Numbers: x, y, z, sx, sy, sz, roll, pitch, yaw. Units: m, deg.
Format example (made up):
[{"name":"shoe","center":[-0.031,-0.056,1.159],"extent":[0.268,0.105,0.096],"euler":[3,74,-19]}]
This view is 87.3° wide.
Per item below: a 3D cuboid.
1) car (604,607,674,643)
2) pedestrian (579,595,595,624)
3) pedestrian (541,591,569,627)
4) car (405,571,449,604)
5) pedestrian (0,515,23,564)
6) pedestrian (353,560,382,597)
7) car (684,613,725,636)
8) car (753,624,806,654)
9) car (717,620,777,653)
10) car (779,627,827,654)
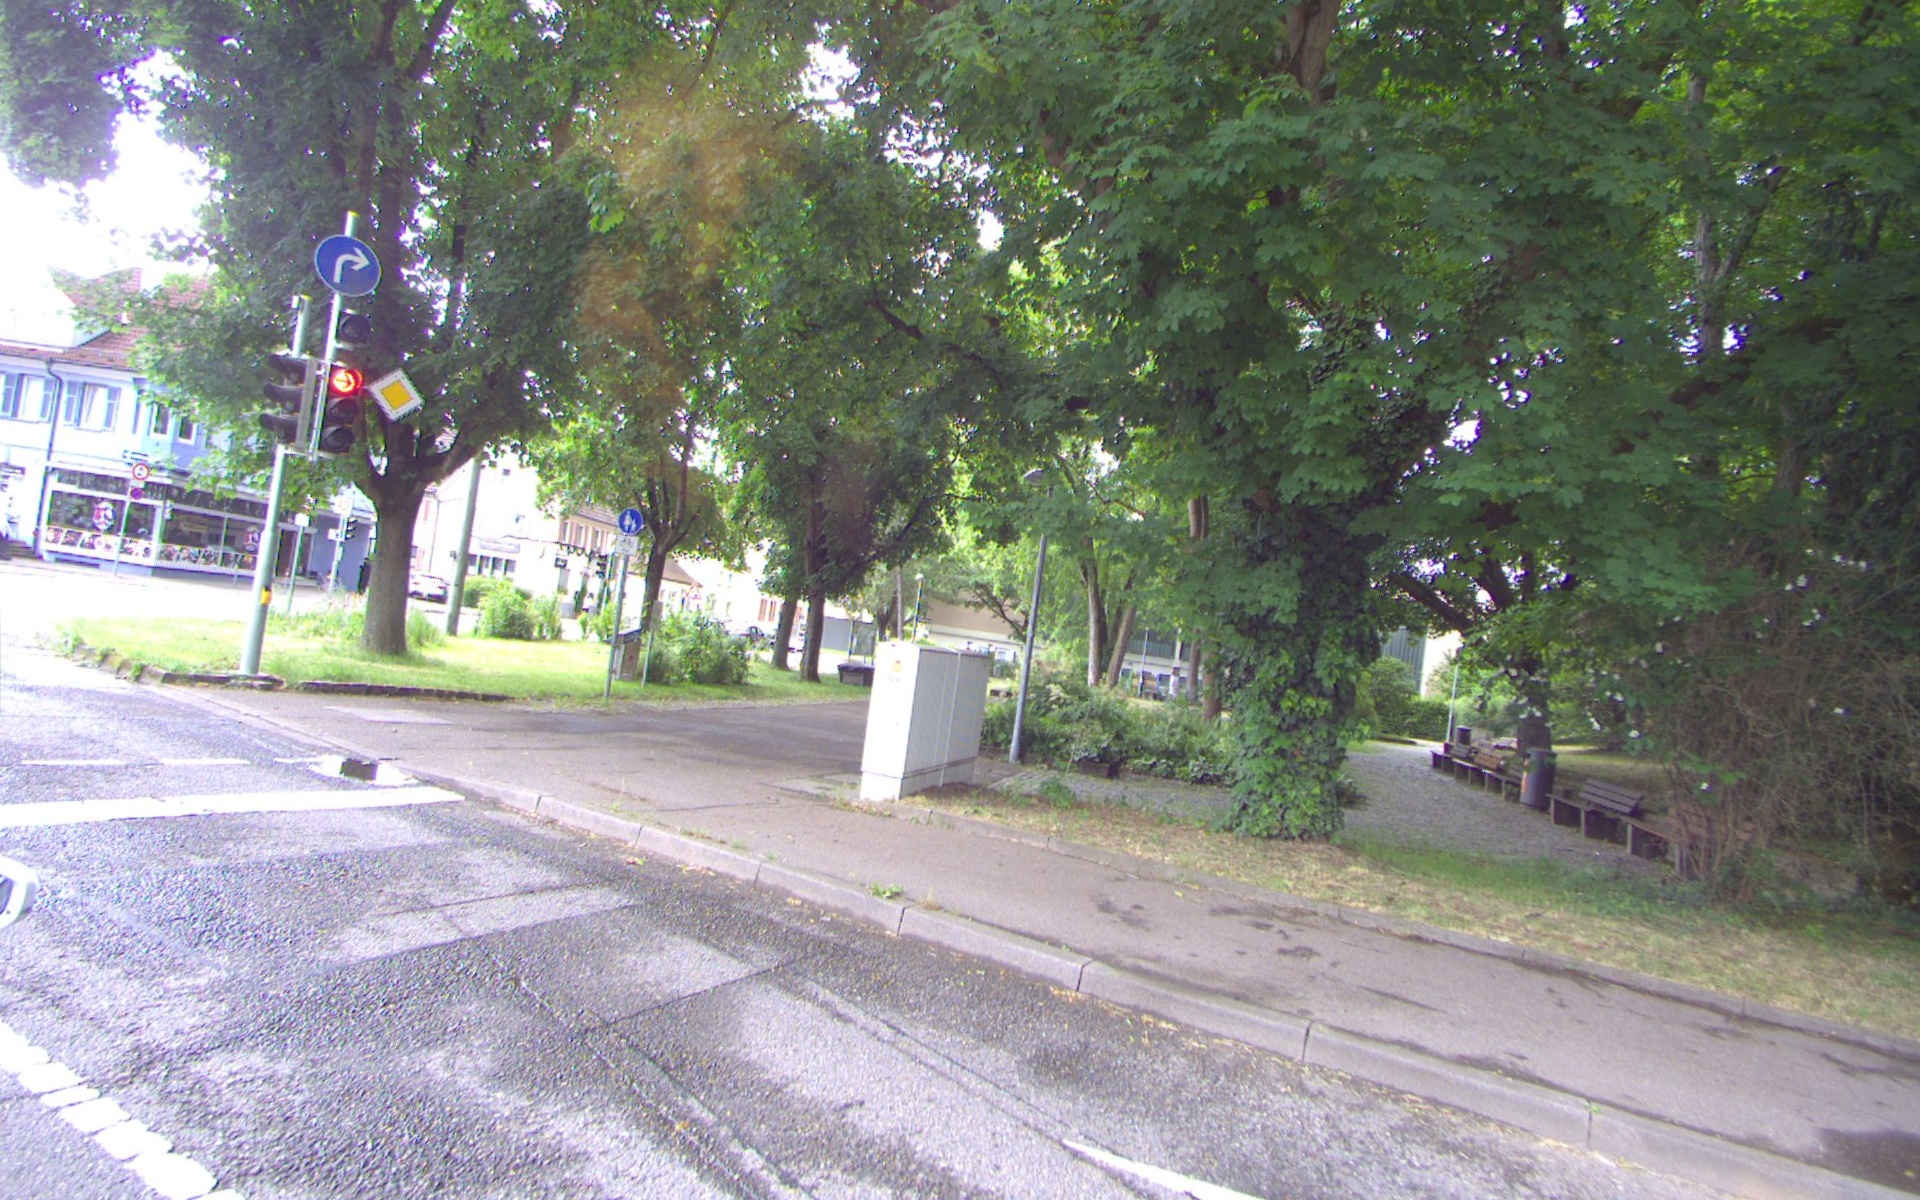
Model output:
[{"name":"car","center":[-14.027,1.101,44.126],"extent":[1.436,1.282,3.014],"euler":[7,-2,13]},{"name":"pedestrian","center":[-21.604,0.553,58.301],"extent":[0.500,1.578,0.505],"euler":[6,-1,17]},{"name":"pedestrian","center":[-12.991,0.292,32.301],"extent":[0.506,1.093,0.507],"euler":[6,-1,17]},{"name":"car","center":[-28.170,-0.689,53.160],"extent":[1.870,1.406,3.589],"euler":[9,-2,-28]},{"name":"pedestrian","center":[-32.015,-2.048,33.648],"extent":[0.688,1.578,0.662],"euler":[7,-1,-27]},{"name":"pedestrian","center":[-26.777,-0.969,45.472],"extent":[0.732,1.578,0.673],"euler":[6,-1,17]},{"name":"car","center":[-18.804,1.834,74.210],"extent":[1.736,1.463,3.865],"euler":[7,-2,2]},{"name":"car","center":[-10.695,2.337,59.905],"extent":[1.618,1.474,3.740],"euler":[7,-2,13]},{"name":"car","center":[-11.558,2.014,54.931],"extent":[1.618,1.474,3.740],"euler":[7,-2,13]},{"name":"car","center":[-10.269,2.654,66.036],"extent":[1.618,1.474,3.740],"euler":[7,-2,13]}]
